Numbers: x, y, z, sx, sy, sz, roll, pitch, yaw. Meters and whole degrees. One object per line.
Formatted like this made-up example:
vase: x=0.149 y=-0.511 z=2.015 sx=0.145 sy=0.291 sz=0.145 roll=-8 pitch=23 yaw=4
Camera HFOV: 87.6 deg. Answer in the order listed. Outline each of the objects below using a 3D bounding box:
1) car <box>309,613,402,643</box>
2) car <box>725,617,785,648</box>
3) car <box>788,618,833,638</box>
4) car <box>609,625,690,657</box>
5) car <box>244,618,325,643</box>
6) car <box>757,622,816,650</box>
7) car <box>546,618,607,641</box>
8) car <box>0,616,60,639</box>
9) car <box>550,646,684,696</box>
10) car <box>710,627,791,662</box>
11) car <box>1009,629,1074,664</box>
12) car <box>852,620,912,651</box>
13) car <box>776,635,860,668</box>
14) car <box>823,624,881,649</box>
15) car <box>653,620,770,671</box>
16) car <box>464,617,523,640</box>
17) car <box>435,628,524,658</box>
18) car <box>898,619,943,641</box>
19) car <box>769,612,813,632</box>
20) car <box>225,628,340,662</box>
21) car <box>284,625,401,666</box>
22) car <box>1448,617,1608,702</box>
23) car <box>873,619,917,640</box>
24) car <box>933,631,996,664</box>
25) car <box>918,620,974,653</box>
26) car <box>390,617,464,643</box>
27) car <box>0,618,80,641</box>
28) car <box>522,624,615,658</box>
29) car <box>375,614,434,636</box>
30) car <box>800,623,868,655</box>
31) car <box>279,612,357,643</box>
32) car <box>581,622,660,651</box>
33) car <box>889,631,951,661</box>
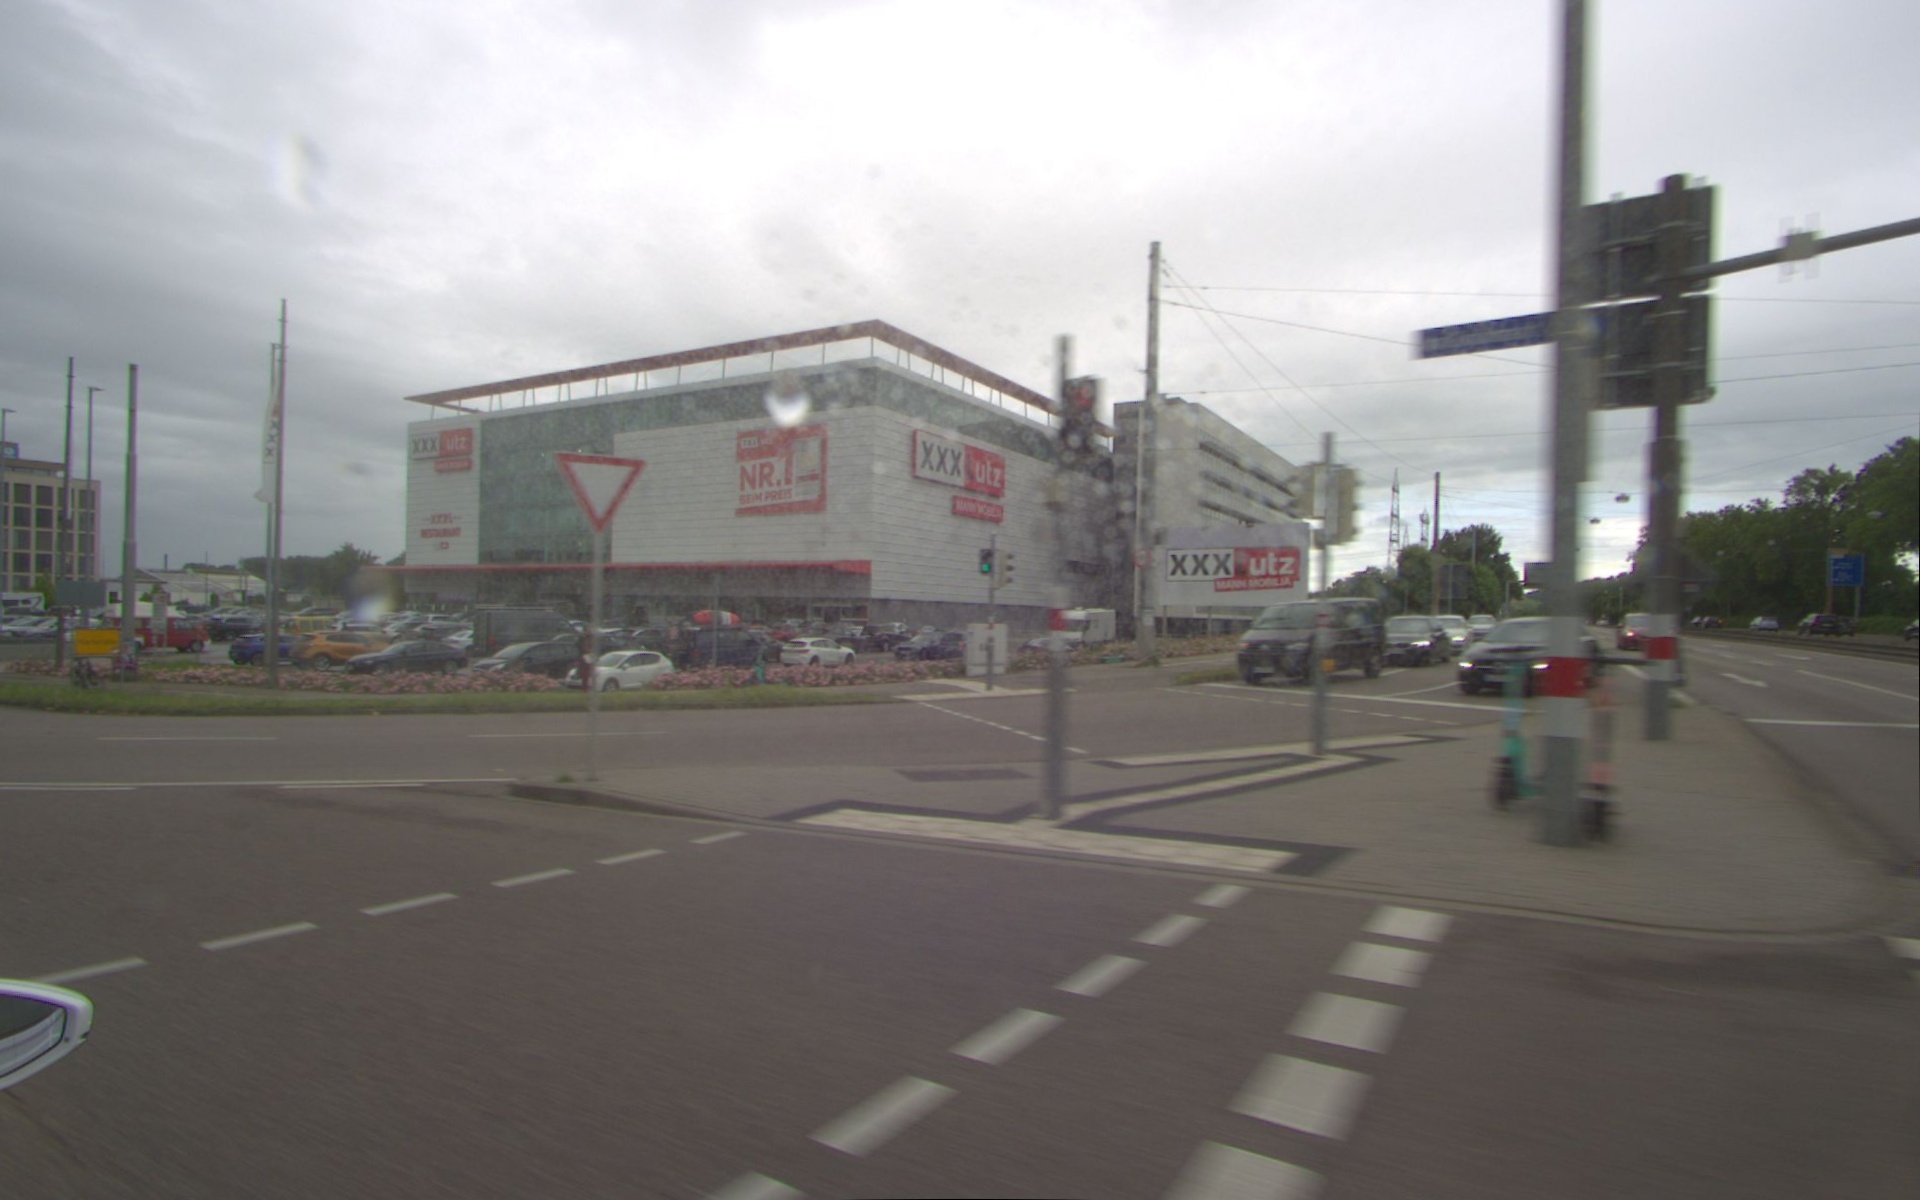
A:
car: x=-36.215 y=1.690 z=60.105 sx=1.807 sy=1.604 sz=4.404 roll=3 pitch=-1 yaw=33
car: x=-14.327 y=2.250 z=70.206 sx=1.972 sy=2.040 sz=3.979 roll=0 pitch=-1 yaw=32
car: x=-12.206 y=2.269 z=81.811 sx=1.627 sy=1.581 sz=3.597 roll=2 pitch=1 yaw=32
car: x=-16.978 y=2.208 z=54.875 sx=1.859 sy=1.692 sz=3.979 roll=0 pitch=-1 yaw=33
car: x=-44.432 y=1.998 z=65.948 sx=1.860 sy=1.553 sz=3.983 roll=1 pitch=-2 yaw=30
car: x=-11.971 y=2.442 z=69.388 sx=1.795 sy=1.842 sz=3.978 roll=0 pitch=-1 yaw=33
car: x=-28.252 y=2.192 z=73.885 sx=1.807 sy=1.676 sz=3.984 roll=0 pitch=-2 yaw=29
car: x=-61.397 y=1.798 z=64.910 sx=1.782 sy=1.368 sz=4.148 roll=3 pitch=0 yaw=30
car: x=-11.672 y=2.375 z=34.324 sx=1.847 sy=1.464 sz=4.103 roll=3 pitch=0 yaw=30
car: x=-10.725 y=2.269 z=51.578 sx=1.970 sy=1.697 sz=3.982 roll=0 pitch=-1 yaw=30
car: x=4.420 y=2.459 z=53.577 sx=1.887 sy=1.779 sz=3.980 roll=0 pitch=-1 yaw=32
car: x=-5.085 y=2.324 z=65.763 sx=1.923 sy=1.954 sz=3.978 roll=0 pitch=-1 yaw=33
car: x=-6.840 y=2.450 z=48.489 sx=1.721 sy=1.495 sz=4.189 roll=0 pitch=-1 yaw=33
car: x=-7.240 y=2.438 z=67.586 sx=1.753 sy=1.552 sz=3.978 roll=1 pitch=0 yaw=33
car: x=-11.265 y=1.998 z=45.703 sx=2.094 sy=2.193 sz=5.020 roll=0 pitch=-1 yaw=36
car: x=-37.893 y=2.319 z=81.435 sx=1.760 sy=1.843 sz=3.982 roll=0 pitch=-2 yaw=31
car: x=-26.087 y=2.339 z=54.492 sx=1.837 sy=1.572 sz=3.980 roll=0 pitch=-2 yaw=33
car: x=-3.001 y=2.260 z=76.402 sx=1.627 sy=1.581 sz=3.597 roll=2 pitch=1 yaw=32
car: x=-14.110 y=1.847 z=83.744 sx=1.627 sy=1.581 sz=3.597 roll=2 pitch=1 yaw=32
car: x=-31.030 y=2.046 z=45.962 sx=1.788 sy=1.474 sz=3.981 roll=0 pitch=-2 yaw=32
car: x=-26.775 y=1.946 z=43.530 sx=1.791 sy=1.664 sz=3.976 roll=0 pitch=-1 yaw=36
car: x=11.229 y=1.095 z=19.671 sx=1.818 sy=1.483 sz=4.171 roll=0 pitch=-2 yaw=43
car: x=-5.085 y=2.286 z=78.195 sx=1.627 sy=1.581 sz=3.597 roll=2 pitch=1 yaw=32
car: x=0.271 y=2.613 z=56.000 sx=1.856 sy=1.687 sz=3.985 roll=1 pitch=-1 yaw=28
car: x=-0.849 y=2.335 z=64.224 sx=1.968 sy=1.976 sz=3.986 roll=0 pitch=-2 yaw=27
car: x=-35.485 y=2.025 z=66.757 sx=1.761 sy=1.655 sz=3.980 roll=0 pitch=-2 yaw=33
car: x=-58.118 y=1.855 z=62.774 sx=1.737 sy=1.368 sz=4.050 roll=3 pitch=0 yaw=30
car: x=-19.623 y=2.037 z=50.299 sx=1.971 sy=1.589 sz=3.980 roll=0 pitch=-1 yaw=32
car: x=-47.280 y=2.117 z=85.323 sx=1.870 sy=1.772 sz=3.977 roll=0 pitch=-2 yaw=35
car: x=-7.652 y=2.358 z=61.286 sx=1.839 sy=1.804 sz=4.200 roll=1 pitch=0 yaw=33
car: x=-40.528 y=1.739 z=63.268 sx=1.708 sy=1.791 sz=3.730 roll=3 pitch=0 yaw=33
car: x=-19.164 y=2.070 z=56.603 sx=1.828 sy=1.575 sz=3.981 roll=0 pitch=-2 yaw=32
car: x=-2.222 y=2.574 z=56.755 sx=1.804 sy=1.536 sz=3.985 roll=0 pitch=-1 yaw=28
